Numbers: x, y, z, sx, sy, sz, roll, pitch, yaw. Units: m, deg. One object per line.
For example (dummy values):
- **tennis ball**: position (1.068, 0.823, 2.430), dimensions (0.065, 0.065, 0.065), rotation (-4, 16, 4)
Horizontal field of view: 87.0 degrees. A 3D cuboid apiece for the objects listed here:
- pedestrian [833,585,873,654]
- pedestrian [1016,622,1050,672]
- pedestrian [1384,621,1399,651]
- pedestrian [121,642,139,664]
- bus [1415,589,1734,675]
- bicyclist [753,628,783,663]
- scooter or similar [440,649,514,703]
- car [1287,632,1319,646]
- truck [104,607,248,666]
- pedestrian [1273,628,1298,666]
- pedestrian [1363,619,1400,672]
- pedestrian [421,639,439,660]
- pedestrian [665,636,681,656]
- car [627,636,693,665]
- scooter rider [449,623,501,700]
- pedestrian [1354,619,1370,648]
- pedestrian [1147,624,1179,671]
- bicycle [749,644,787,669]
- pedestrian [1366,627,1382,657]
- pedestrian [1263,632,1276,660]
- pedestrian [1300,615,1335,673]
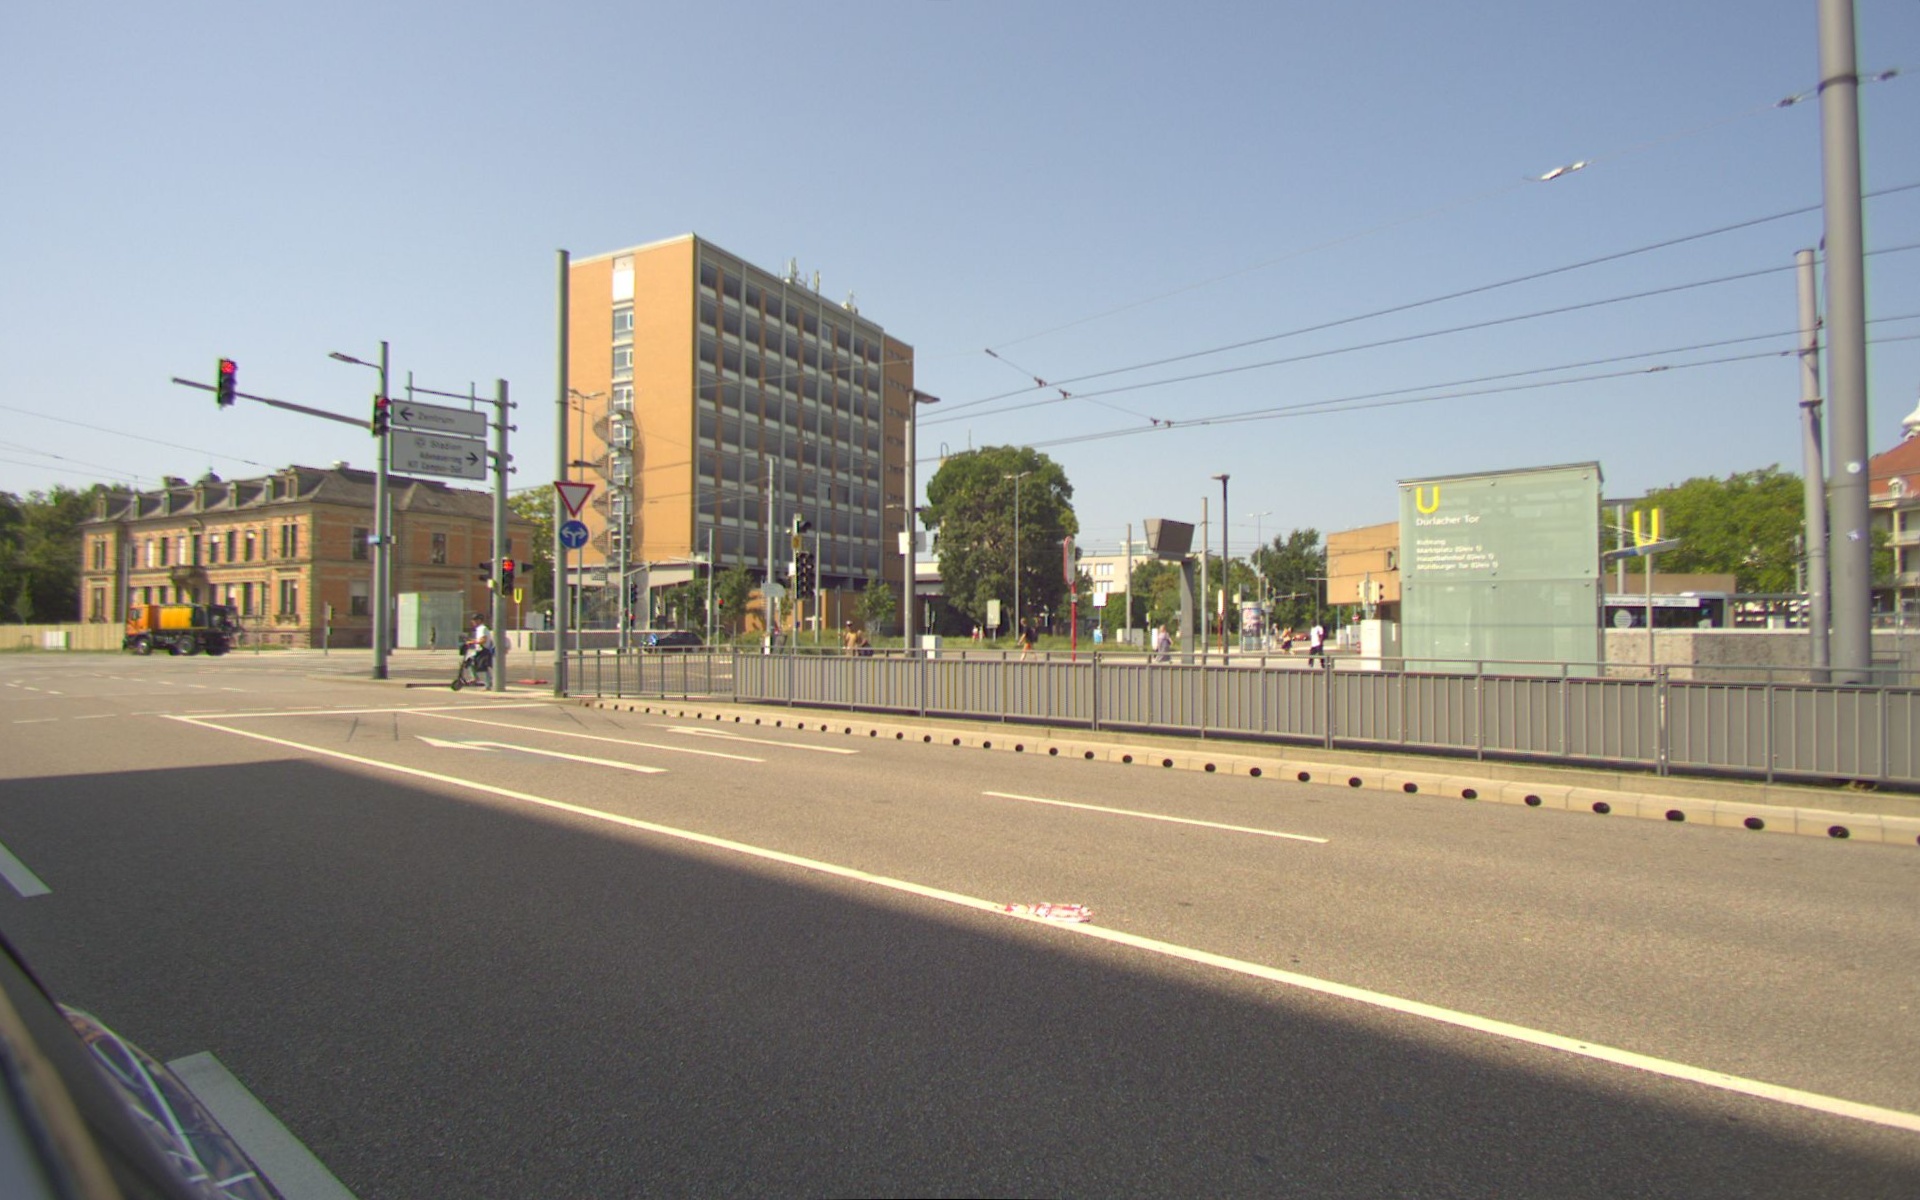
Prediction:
- **pedestrian**: position (-2.700, 0.499, 25.499), dimensions (0.795, 1.672, 0.570), rotation (-3, -3, 22)
- **pedestrian**: position (2.643, 1.710, 36.868), dimensions (0.959, 1.793, 0.774), rotation (-1, -2, 43)
- **pedestrian**: position (24.666, 2.054, 57.844), dimensions (0.571, 1.658, 0.505), rotation (-5, -5, 42)
- **pedestrian**: position (-52.960, 3.385, 64.593), dimensions (0.804, 1.362, 0.720), rotation (2, -3, -42)
- **bus**: position (26.075, 1.334, 43.119), dimensions (12.557, 3.356, 2.682), rotation (-1, -2, -7)
- **bicyclist**: position (-8.262, 1.953, 43.571), dimensions (0.980, 1.470, 0.865), rotation (-2, -3, 44)
- **scooter or similar**: position (-10.922, 1.696, 22.903), dimensions (0.708, 1.157, 1.325), rotation (-2, -3, 39)
- **car**: position (44.550, 5.086, 131.423), dimensions (4.585, 1.666, 1.905), rotation (2, -5, -43)
- **truck**: position (-47.526, 2.280, 61.407), dimensions (7.115, 3.254, 3.031), rotation (-2, -3, 12)
- **pedestrian**: position (15.876, 2.289, 49.380), dimensions (0.945, 1.793, 0.786), rotation (2, -2, -44)
- **pedestrian**: position (12.711, 1.364, 30.534), dimensions (0.667, 1.560, 0.786), rotation (0, -1, -11)
- **pedestrian**: position (-36.414, 3.390, 69.516), dimensions (0.787, 1.405, 0.836), rotation (-2, -3, 42)
- **pedestrian**: position (-21.219, 3.391, 74.779), dimensions (0.787, 1.405, 0.836), rotation (-2, -3, 42)
- **car**: position (-20.295, 3.417, 68.497), dimensions (3.932, 1.807, 2.006), rotation (0, -4, -31)
- **scooter rider**: position (-10.969, 1.374, 22.887), dimensions (0.778, 1.686, 0.764), rotation (-2, -3, 36)
- **pedestrian**: position (23.448, 1.948, 59.036), dimensions (0.578, 1.689, 0.579), rotation (-1, -3, -4)
- **pedestrian**: position (7.959, 1.860, 39.709), dimensions (0.959, 1.793, 0.774), rotation (-1, -2, 43)
- **bicycle**: position (-8.273, 2.422, 43.583), dimensions (1.913, 1.078, 0.606), rotation (-2, -3, 44)
- **pedestrian**: position (24.192, 2.463, 59.161), dimensions (0.578, 1.689, 0.579), rotation (-1, -3, -4)
- **pedestrian**: position (19.942, 2.949, 65.213), dimensions (0.551, 1.830, 0.562), rotation (0, -3, -16)
- **pedestrian**: position (11.013, 1.348, 31.189), dimensions (0.667, 1.741, 0.786), rotation (0, -2, -11)
